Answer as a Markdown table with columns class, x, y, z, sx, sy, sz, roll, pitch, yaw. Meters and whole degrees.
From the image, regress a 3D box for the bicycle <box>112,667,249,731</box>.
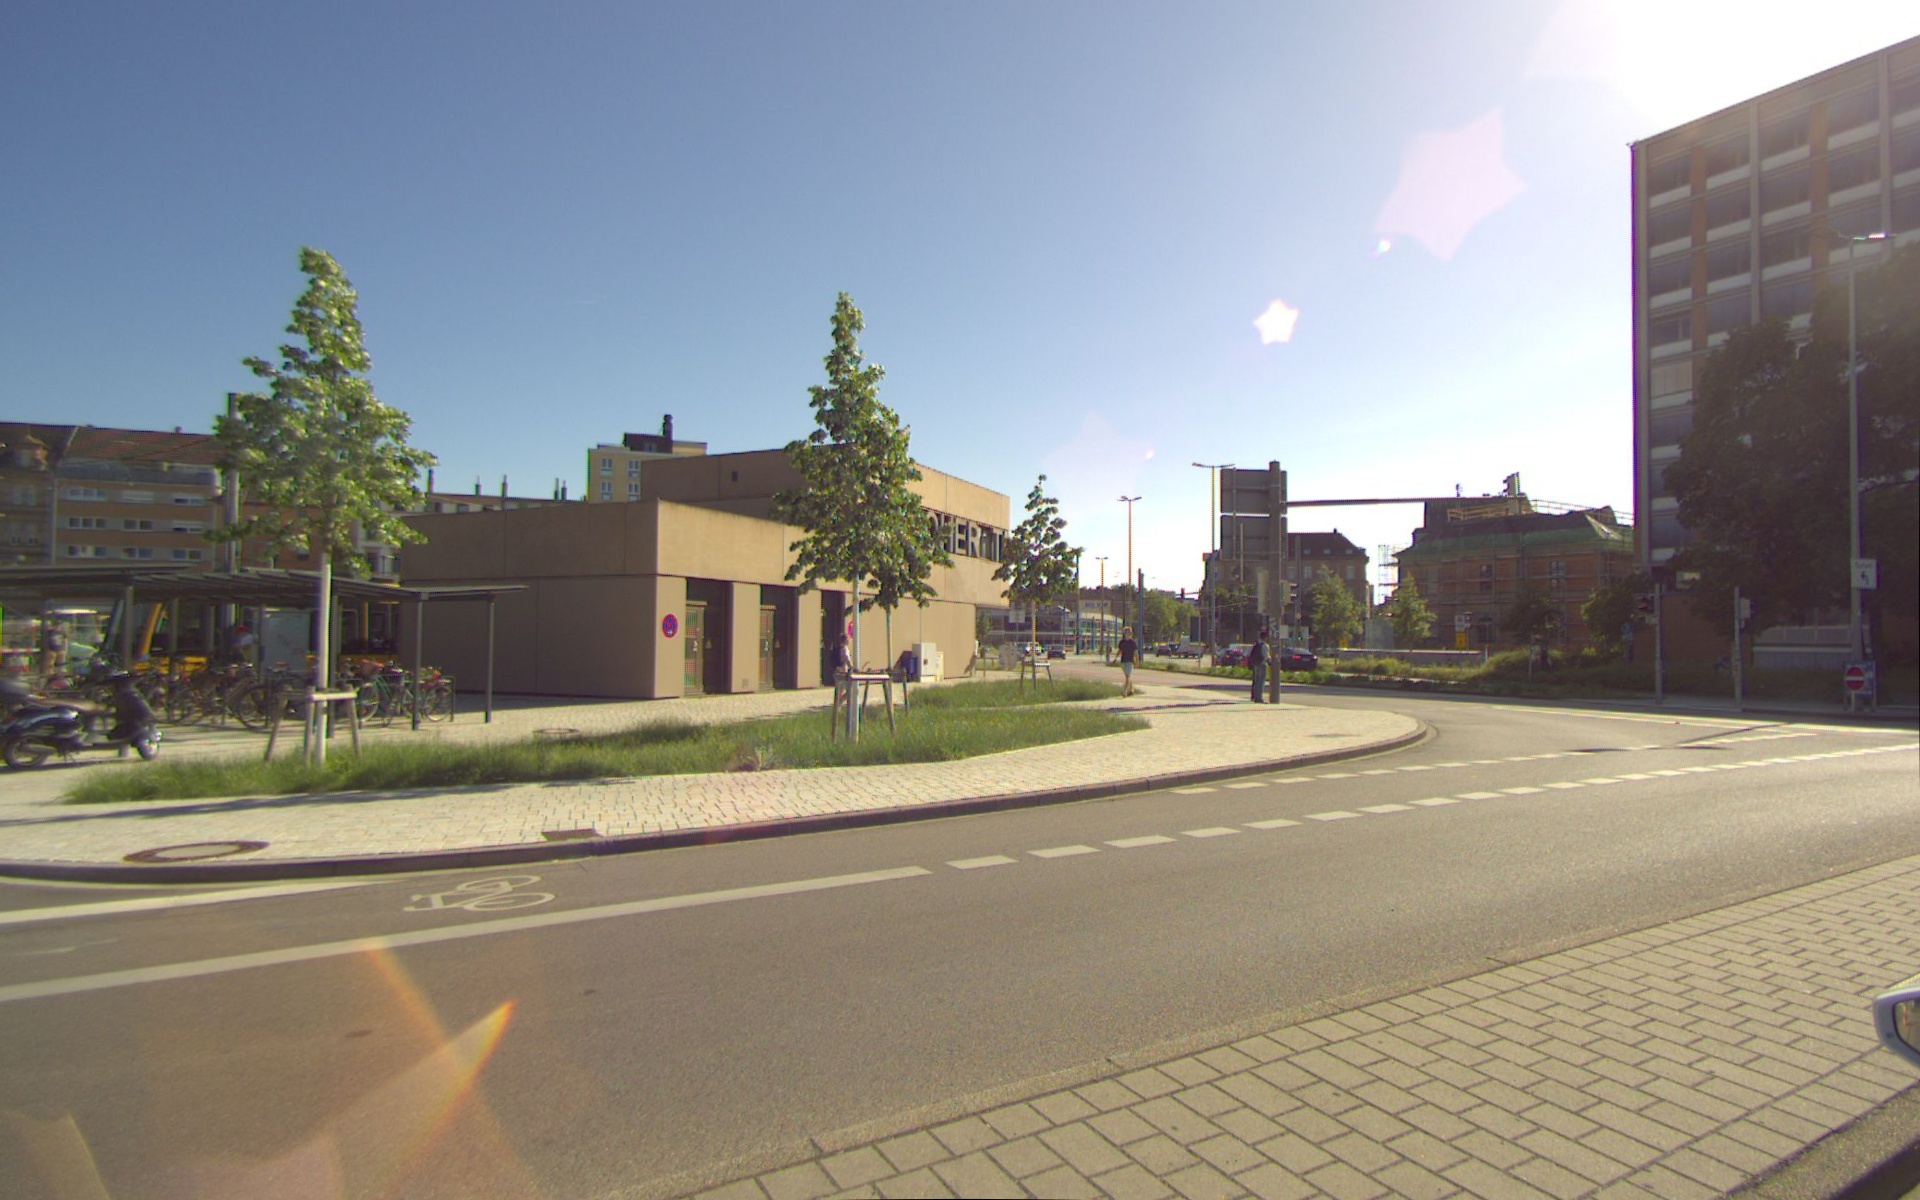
| class | x | y | z | sx | sy | sz | roll | pitch | yaw |
| --- | --- | --- | --- | --- | --- | --- | --- | --- | --- |
| bicycle | -13.867 | 1.740 | 17.939 | 0.617 | 1.021 | 1.828 | 0 | -2 | 27 |

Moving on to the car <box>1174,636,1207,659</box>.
| class | x | y | z | sx | sy | sz | roll | pitch | yaw |
| --- | --- | --- | --- | --- | --- | --- | --- | --- | --- |
| car | 27.148 | 5.535 | 118.747 | 2.952 | 2.580 | 6.963 | 0 | -2 | 6 |

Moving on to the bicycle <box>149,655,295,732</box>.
| class | x | y | z | sx | sy | sz | roll | pitch | yaw |
| --- | --- | --- | --- | --- | --- | --- | --- | --- | --- |
| bicycle | -12.890 | 1.598 | 17.630 | 0.496 | 1.225 | 2.051 | 0 | -2 | 26 |

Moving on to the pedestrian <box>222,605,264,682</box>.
| class | x | y | z | sx | sy | sz | roll | pitch | yaw |
| --- | --- | --- | --- | --- | --- | --- | --- | --- | --- |
| pedestrian | -17.794 | 1.087 | 24.939 | 0.671 | 1.880 | 0.602 | 1 | -2 | -19 |

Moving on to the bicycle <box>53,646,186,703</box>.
| class | x | y | z | sx | sy | sz | roll | pitch | yaw |
| --- | --- | --- | --- | --- | --- | --- | --- | --- | --- |
| bicycle | -15.994 | 1.390 | 19.168 | 0.617 | 1.021 | 1.828 | 0 | -2 | 27 |

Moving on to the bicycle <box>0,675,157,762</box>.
| class | x | y | z | sx | sy | sz | roll | pitch | yaw |
| --- | --- | --- | --- | --- | --- | --- | --- | --- | --- |
| bicycle | -12.040 | 1.557 | 13.522 | 0.617 | 1.021 | 1.829 | 0 | -2 | 25 |

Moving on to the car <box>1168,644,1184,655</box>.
| class | x | y | z | sx | sy | sz | roll | pitch | yaw |
| --- | --- | --- | --- | --- | --- | --- | --- | --- | --- |
| car | 30.018 | 6.814 | 139.760 | 2.024 | 1.458 | 4.061 | 0 | -2 | 9 |

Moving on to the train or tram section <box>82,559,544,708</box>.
| class | x | y | z | sx | sy | sz | roll | pitch | yaw |
| --- | --- | --- | --- | --- | --- | --- | --- | --- | --- |
| train or tram section | -18.697 | 1.042 | 30.821 | 2.702 | 3.648 | 12.318 | 0 | -2 | 25 |

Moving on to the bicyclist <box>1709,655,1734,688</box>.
| class | x | y | z | sx | sy | sz | roll | pitch | yaw |
| --- | --- | --- | --- | --- | --- | --- | --- | --- | --- |
| bicyclist | 33.520 | 3.143 | 44.223 | 0.636 | 1.431 | 0.638 | 1 | -2 | -4 |

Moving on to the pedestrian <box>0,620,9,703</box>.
| class | x | y | z | sx | sy | sz | roll | pitch | yaw |
| --- | --- | --- | --- | --- | --- | --- | --- | --- | --- |
| pedestrian | -19.839 | 1.235 | 20.242 | 0.593 | 1.681 | 0.772 | 0 | -2 | 23 |

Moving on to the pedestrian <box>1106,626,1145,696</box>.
| class | x | y | z | sx | sy | sz | roll | pitch | yaw |
| --- | --- | --- | --- | --- | --- | --- | --- | --- | --- |
| pedestrian | 4.495 | 1.648 | 27.299 | 0.826 | 1.869 | 0.866 | 1 | -2 | -7 |

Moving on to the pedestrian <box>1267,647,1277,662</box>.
| class | x | y | z | sx | sy | sz | roll | pitch | yaw |
| --- | --- | --- | --- | --- | --- | --- | --- | --- | --- |
| pedestrian | 41.197 | 7.181 | 132.617 | 1.249 | 2.040 | 1.093 | 0 | -2 | 13 |

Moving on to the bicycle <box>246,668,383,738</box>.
| class | x | y | z | sx | sy | sz | roll | pitch | yaw |
| --- | --- | --- | --- | --- | --- | --- | --- | --- | --- |
| bicycle | -10.674 | 1.677 | 16.685 | 0.617 | 1.021 | 1.828 | 0 | -2 | 27 |

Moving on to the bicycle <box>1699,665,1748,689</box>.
| class | x | y | z | sx | sy | sz | roll | pitch | yaw |
| --- | --- | --- | --- | --- | --- | --- | --- | --- | --- |
| bicycle | 33.555 | 3.381 | 44.189 | 0.612 | 0.971 | 1.870 | 1 | -2 | -5 |

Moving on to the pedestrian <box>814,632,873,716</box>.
| class | x | y | z | sx | sy | sz | roll | pitch | yaw |
| --- | --- | --- | --- | --- | --- | --- | --- | --- | --- |
| pedestrian | -2.491 | 1.560 | 21.441 | 1.012 | 1.727 | 0.833 | 1 | -2 | -28 |

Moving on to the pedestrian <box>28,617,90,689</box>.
| class | x | y | z | sx | sy | sz | roll | pitch | yaw |
| --- | --- | --- | --- | --- | --- | --- | --- | --- | --- |
| pedestrian | -26.265 | 1.536 | 29.289 | 0.854 | 2.040 | 1.012 | 0 | -2 | 19 |

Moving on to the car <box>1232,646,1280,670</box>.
| class | x | y | z | sx | sy | sz | roll | pitch | yaw |
| --- | --- | --- | --- | --- | --- | --- | --- | --- | --- |
| car | 20.282 | 3.936 | 68.999 | 1.962 | 1.538 | 3.818 | 1 | -2 | -4 |

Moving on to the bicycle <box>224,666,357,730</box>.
| class | x | y | z | sx | sy | sz | roll | pitch | yaw |
| --- | --- | --- | --- | --- | --- | --- | --- | --- | --- |
| bicycle | -11.617 | 1.678 | 17.502 | 0.492 | 1.010 | 1.887 | 0 | -2 | 31 |

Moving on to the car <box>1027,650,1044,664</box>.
| class | x | y | z | sx | sy | sz | roll | pitch | yaw |
| --- | --- | --- | --- | --- | --- | --- | --- | --- | --- |
| car | 9.608 | 7.174 | 127.362 | 1.865 | 1.728 | 4.003 | 0 | -2 | 9 |

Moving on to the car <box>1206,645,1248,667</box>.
| class | x | y | z | sx | sy | sz | roll | pitch | yaw |
| --- | --- | --- | --- | --- | --- | --- | --- | --- | --- |
| car | 20.053 | 4.206 | 75.505 | 1.962 | 1.538 | 3.818 | 1 | -2 | -4 |

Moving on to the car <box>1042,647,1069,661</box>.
| class | x | y | z | sx | sy | sz | roll | pitch | yaw |
| --- | --- | --- | --- | --- | --- | --- | --- | --- | --- |
| car | 9.635 | 5.485 | 101.496 | 1.962 | 1.407 | 3.998 | 0 | -3 | -5 |

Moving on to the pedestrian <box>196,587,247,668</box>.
| class | x | y | z | sx | sy | sz | roll | pitch | yaw |
| --- | --- | --- | --- | --- | --- | --- | --- | --- | --- |
| pedestrian | -17.513 | 0.663 | 23.830 | 0.738 | 1.880 | 0.709 | 1 | -2 | -19 |

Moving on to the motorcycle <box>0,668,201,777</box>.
| class | x | y | z | sx | sy | sz | roll | pitch | yaw |
| --- | --- | --- | --- | --- | --- | --- | --- | --- | --- |
| motorcycle | -10.922 | 1.477 | 12.477 | 0.599 | 1.173 | 2.360 | 0 | -2 | 25 |

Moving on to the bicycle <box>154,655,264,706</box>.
| class | x | y | z | sx | sy | sz | roll | pitch | yaw |
| --- | --- | --- | --- | --- | --- | --- | --- | --- | --- |
| bicycle | -16.260 | 1.731 | 21.805 | 0.617 | 1.021 | 1.829 | 0 | -2 | 25 |

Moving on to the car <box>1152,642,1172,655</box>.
| class | x | y | z | sx | sy | sz | roll | pitch | yaw |
| --- | --- | --- | --- | --- | --- | --- | --- | --- | --- |
| car | 25.904 | 6.219 | 129.096 | 2.059 | 1.602 | 4.862 | 0 | -2 | 6 |

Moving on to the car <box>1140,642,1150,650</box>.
| class | x | y | z | sx | sy | sz | roll | pitch | yaw |
| --- | --- | --- | --- | --- | --- | --- | --- | --- | --- |
| car | 38.399 | 9.564 | 208.719 | 1.959 | 1.695 | 4.003 | 0 | -2 | 10 |

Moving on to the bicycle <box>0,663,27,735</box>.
| class | x | y | z | sx | sy | sz | roll | pitch | yaw |
| --- | --- | --- | --- | --- | --- | --- | --- | --- | --- |
| bicycle | -15.274 | 1.514 | 15.013 | 0.617 | 1.094 | 1.829 | 0 | -2 | 25 |

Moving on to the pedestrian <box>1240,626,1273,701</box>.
| class | x | y | z | sx | sy | sz | roll | pitch | yaw |
| --- | --- | --- | --- | --- | --- | --- | --- | --- | --- |
| pedestrian | 7.577 | 1.610 | 25.689 | 0.594 | 1.880 | 0.681 | 1 | -2 | -7 |

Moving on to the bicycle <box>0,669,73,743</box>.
| class | x | y | z | sx | sy | sz | roll | pitch | yaw |
| --- | --- | --- | --- | --- | --- | --- | --- | --- | --- |
| bicycle | -14.107 | 1.548 | 14.514 | 0.617 | 1.021 | 1.829 | 0 | -2 | 25 |

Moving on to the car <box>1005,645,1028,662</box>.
| class | x | y | z | sx | sy | sz | roll | pitch | yaw |
| --- | --- | --- | --- | --- | --- | --- | --- | --- | --- |
| car | 6.518 | 6.187 | 116.273 | 1.963 | 1.814 | 3.995 | 1 | -2 | -8 |

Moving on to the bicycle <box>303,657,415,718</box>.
| class | x | y | z | sx | sy | sz | roll | pitch | yaw |
| --- | --- | --- | --- | --- | --- | --- | --- | --- | --- |
| bicycle | -11.748 | 1.686 | 19.690 | 0.617 | 1.107 | 1.829 | 0 | -2 | 25 |

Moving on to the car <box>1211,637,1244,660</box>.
| class | x | y | z | sx | sy | sz | roll | pitch | yaw |
| --- | --- | --- | --- | --- | --- | --- | --- | --- | --- |
| car | 24.723 | 4.471 | 93.110 | 2.030 | 2.040 | 5.018 | 0 | -2 | 4 |

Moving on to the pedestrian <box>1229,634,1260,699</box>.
| class | x | y | z | sx | sy | sz | roll | pitch | yaw |
| --- | --- | --- | --- | --- | --- | --- | --- | --- | --- |
| pedestrian | 7.629 | 1.768 | 26.933 | 0.594 | 1.719 | 0.634 | 1 | -2 | -7 |

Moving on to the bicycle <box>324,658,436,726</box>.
| class | x | y | z | sx | sy | sz | roll | pitch | yaw |
| --- | --- | --- | --- | --- | --- | --- | --- | --- | --- |
| bicycle | -10.744 | 1.674 | 18.685 | 0.616 | 1.161 | 1.831 | 0 | -2 | 18 |

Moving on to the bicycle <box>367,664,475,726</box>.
| class | x | y | z | sx | sy | sz | roll | pitch | yaw |
| --- | --- | --- | --- | --- | --- | --- | --- | --- | --- |
| bicycle | -9.825 | 1.708 | 18.386 | 0.616 | 1.021 | 1.832 | 0 | -2 | 16 |

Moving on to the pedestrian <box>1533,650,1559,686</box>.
| class | x | y | z | sx | sy | sz | roll | pitch | yaw |
| --- | --- | --- | --- | --- | --- | --- | --- | --- | --- |
| pedestrian | 34.099 | 3.967 | 58.455 | 0.996 | 2.040 | 0.825 | 1 | -2 | -6 |

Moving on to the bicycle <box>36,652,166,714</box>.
| class | x | y | z | sx | sy | sz | roll | pitch | yaw |
| --- | --- | --- | --- | --- | --- | --- | --- | --- | --- |
| bicycle | -16.913 | 1.608 | 19.831 | 0.617 | 1.146 | 1.828 | 0 | -2 | 27 |

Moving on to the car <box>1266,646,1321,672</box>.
| class | x | y | z | sx | sy | sz | roll | pitch | yaw |
| --- | --- | --- | --- | --- | --- | --- | --- | --- | --- |
| car | 20.807 | 3.654 | 62.734 | 1.962 | 1.538 | 3.818 | 1 | -2 | -4 |

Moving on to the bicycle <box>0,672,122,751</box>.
| class | x | y | z | sx | sy | sz | roll | pitch | yaw |
| --- | --- | --- | --- | --- | --- | --- | --- | --- | --- |
| bicycle | -13.123 | 1.556 | 14.074 | 0.617 | 1.021 | 2.026 | 0 | -2 | 25 |
